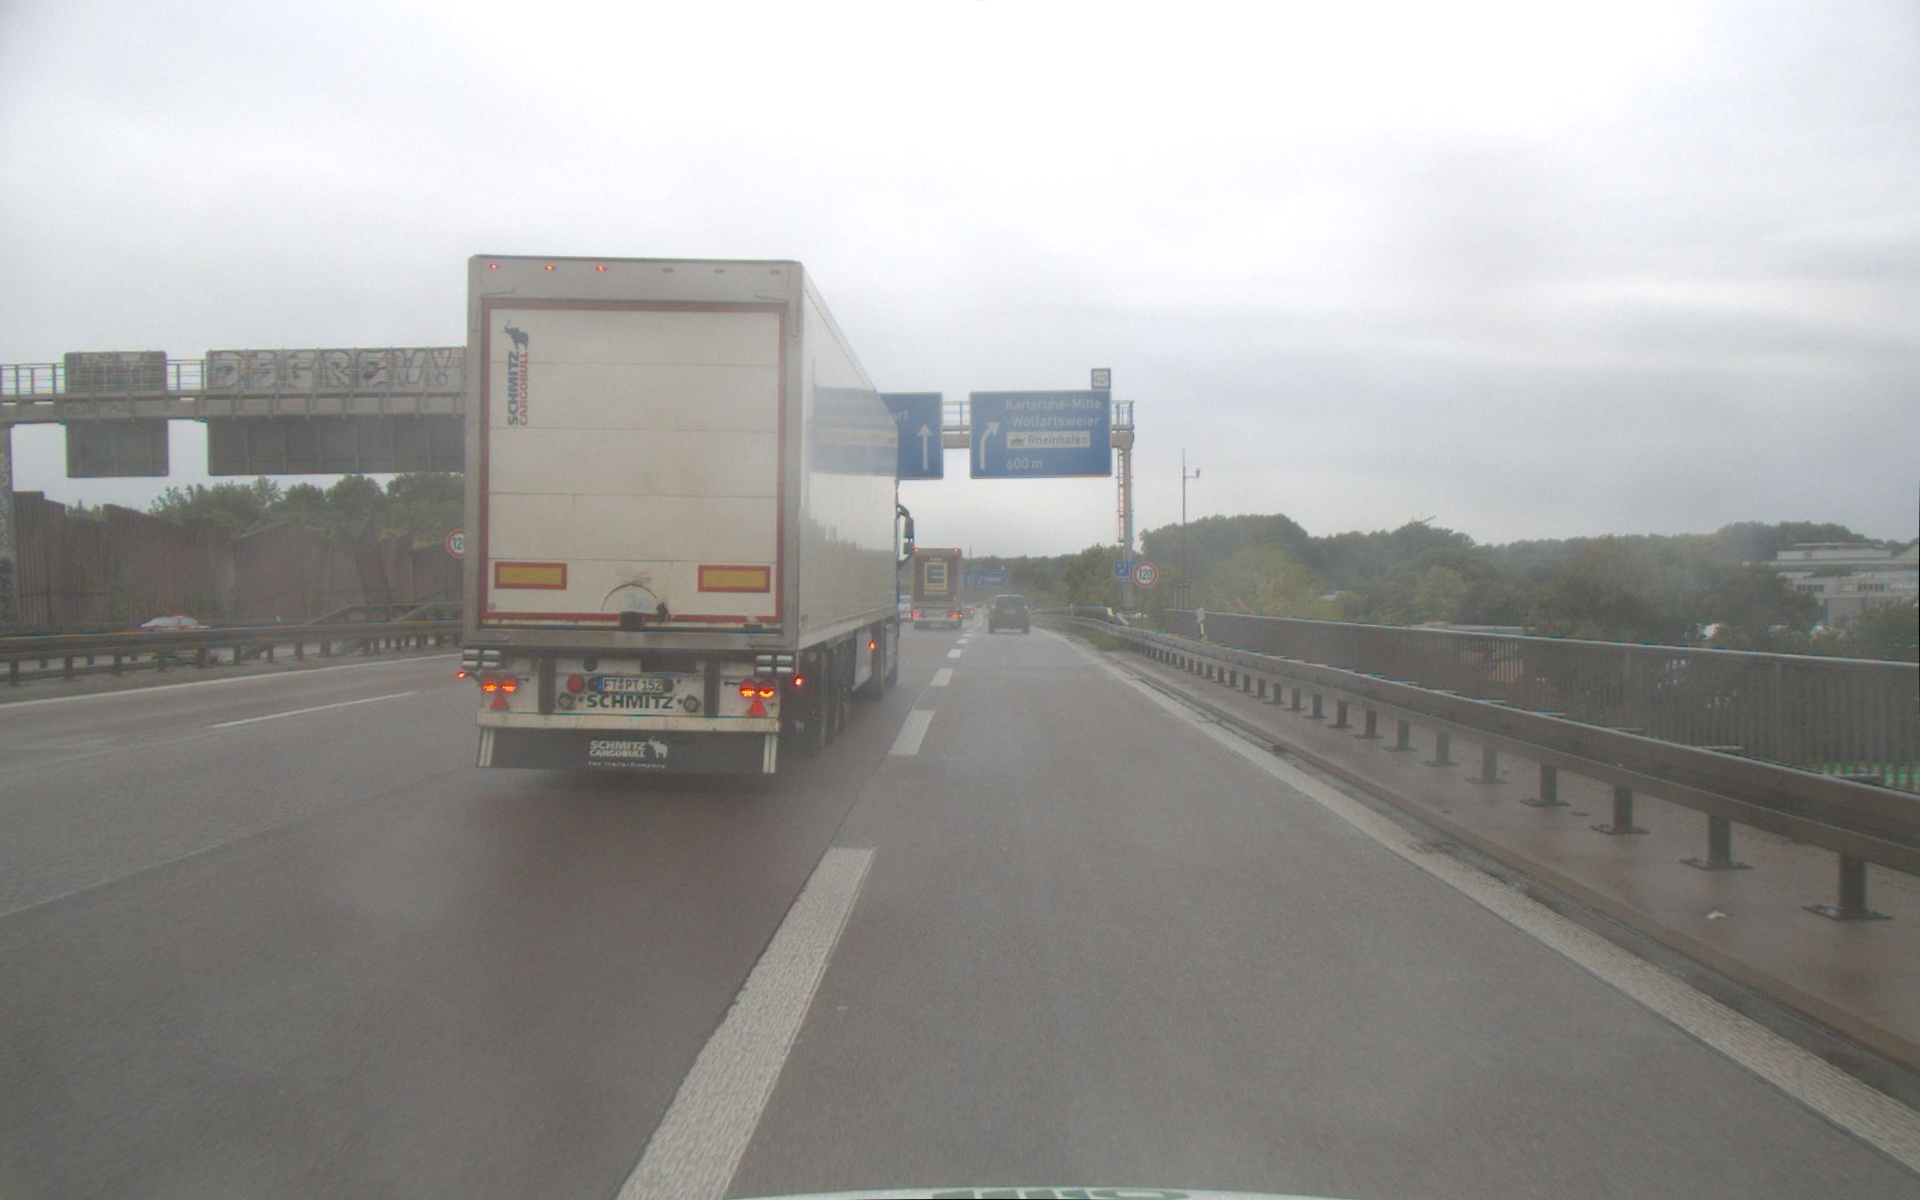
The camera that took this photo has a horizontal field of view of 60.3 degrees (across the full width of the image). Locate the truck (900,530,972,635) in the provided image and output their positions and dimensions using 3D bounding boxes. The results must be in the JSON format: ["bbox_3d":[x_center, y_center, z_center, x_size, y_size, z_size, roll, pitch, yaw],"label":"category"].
[{"bbox_3d":[-1.150,-0.866,88.547,3.461,5.274,9.893,1,0,1],"label":"truck"}]

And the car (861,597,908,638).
[{"bbox_3d":[-3.355,0.775,74.388,1.855,1.754,4.000,1,0,1],"label":"car"}]

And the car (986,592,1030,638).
[{"bbox_3d":[2.161,0.651,74.175,1.858,1.983,4.001,1,0,2],"label":"car"}]

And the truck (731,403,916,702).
[{"bbox_3d":[-2.039,-0.686,26.832,2.294,4.230,6.347,1,0,1],"label":"truck"}]

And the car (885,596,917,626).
[{"bbox_3d":[-4.049,0.736,114.074,2.007,1.983,4.000,1,0,1],"label":"car"}]

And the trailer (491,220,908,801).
[{"bbox_3d":[-2.157,-0.677,19.602,2.294,4.230,14.828,1,0,1],"label":"trailer"}]

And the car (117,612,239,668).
[{"bbox_3d":[-27.702,1.369,58.757,1.953,1.815,5.106,0,0,-1],"label":"car"}]
